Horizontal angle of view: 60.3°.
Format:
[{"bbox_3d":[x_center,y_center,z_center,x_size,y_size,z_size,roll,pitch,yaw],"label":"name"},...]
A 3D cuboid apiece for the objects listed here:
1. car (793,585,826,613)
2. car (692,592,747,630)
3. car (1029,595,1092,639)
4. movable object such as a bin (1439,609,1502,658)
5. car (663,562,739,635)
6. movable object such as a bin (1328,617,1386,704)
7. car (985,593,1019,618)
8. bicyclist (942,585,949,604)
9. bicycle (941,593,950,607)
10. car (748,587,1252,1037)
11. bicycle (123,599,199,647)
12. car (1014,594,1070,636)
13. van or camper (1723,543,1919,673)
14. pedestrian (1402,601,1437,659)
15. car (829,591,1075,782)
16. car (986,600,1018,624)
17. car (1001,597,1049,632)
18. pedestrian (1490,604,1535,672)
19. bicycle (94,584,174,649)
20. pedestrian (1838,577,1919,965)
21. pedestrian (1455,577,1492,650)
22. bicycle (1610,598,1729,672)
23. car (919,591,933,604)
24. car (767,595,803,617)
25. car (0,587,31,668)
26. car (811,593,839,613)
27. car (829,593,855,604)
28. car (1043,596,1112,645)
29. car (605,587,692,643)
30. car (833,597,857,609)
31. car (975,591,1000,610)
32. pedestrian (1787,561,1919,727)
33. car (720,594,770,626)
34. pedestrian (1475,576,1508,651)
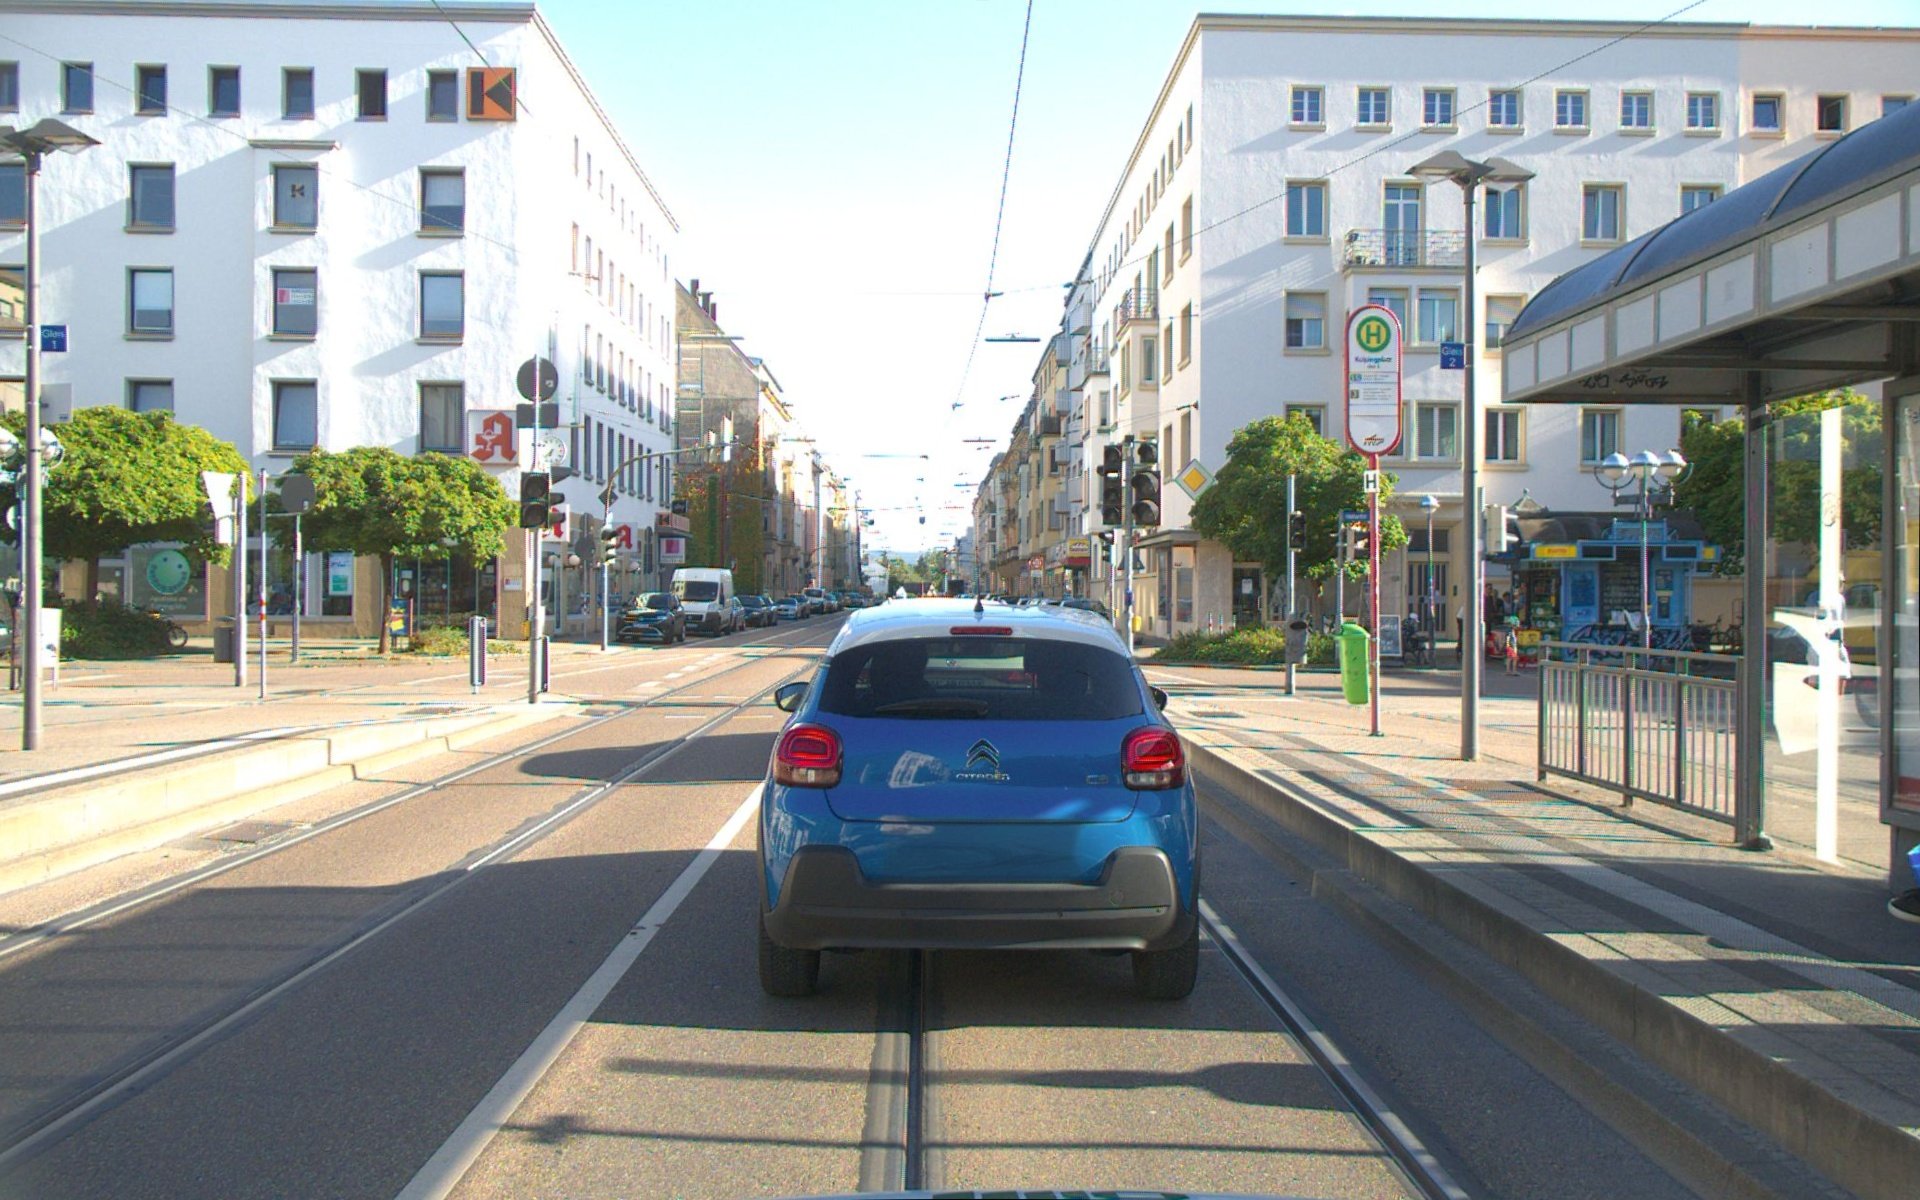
[{"bbox_3d":[-11.487,-0.031,126.603,1.965,2.049,4.690,1,0,1],"label":"car"},{"bbox_3d":[-10.048,0.467,69.389,1.850,1.522,3.560,1,0,-2],"label":"car"},{"bbox_3d":[3.455,0.571,57.530,1.953,1.489,4.000,0,0,0],"label":"car"},{"bbox_3d":[12.467,0.815,40.414,1.174,1.173,1.217,0,0,0],"label":"movable object such as a bin"},{"bbox_3d":[-9.735,-0.065,62.608,2.043,2.586,6.203,1,0,-2],"label":"car"},{"bbox_3d":[3.739,0.565,15.597,0.439,0.800,0.489,0,0,2],"label":"movable object such as a bin"},{"bbox_3d":[2.585,0.343,102.116,1.953,1.489,4.504,0,0,0],"label":"car"},{"bbox_3d":[-1.580,-0.592,181.167,0.793,2.049,0.922,1,-1,-2],"label":"bicyclist"},{"bbox_3d":[-1.597,-0.008,181.117,0.901,1.413,3.131,0,0,0],"label":"bicycle"},{"bbox_3d":[0.107,0.721,7.555,1.693,1.508,3.826,1,0,-1],"label":"car"},{"bbox_3d":[-20.625,0.570,42.762,0.605,1.211,2.621,0,0,2],"label":"bicycle"},{"bbox_3d":[3.087,0.550,62.972,1.953,1.527,4.000,0,0,0],"label":"car"},{"bbox_3d":[20.981,0.139,36.728,6.976,2.795,2.371,0,1,0],"label":"van or camper"},{"bbox_3d":[10.887,0.706,39.163,0.725,1.339,0.628,0,0,22],"label":"pedestrian"},{"bbox_3d":[-0.101,0.687,15.658,1.944,1.490,4.814,1,0,-1],"label":"car"},{"bbox_3d":[2.694,0.759,106.494,1.953,1.489,4.000,0,0,0],"label":"car"},{"bbox_3d":[2.828,0.603,72.992,1.953,1.489,4.000,0,0,0],"label":"car"},{"bbox_3d":[12.273,0.839,36.737,0.715,1.434,0.755,0,3,-1],"label":"pedestrian"},{"bbox_3d":[-21.334,0.411,42.775,0.605,1.635,2.621,0,0,3],"label":"bicycle"},{"bbox_3d":[3.591,0.573,5.334,0.978,1.246,0.923,3,-1,-1],"label":"pedestrian"},{"bbox_3d":[13.217,0.339,42.555,0.768,1.871,0.678,0,0,2],"label":"pedestrian"},{"bbox_3d":[15.891,0.769,37.075,2.336,1.558,0.726,2,0,-2],"label":"bicycle"},{"bbox_3d":[-4.714,-0.402,230.539,1.953,1.803,3.999,0,0,-1],"label":"car"},{"bbox_3d":[-10.882,0.381,103.113,1.953,1.348,3.921,1,0,-2],"label":"car"},{"bbox_3d":[-22.387,0.577,35.414,3.906,1.736,1.825,0,0,-2],"label":"car"},{"bbox_3d":[-11.179,0.244,137.122,1.914,1.579,3.939,1,0,1],"label":"car"},{"bbox_3d":[-13.185,-0.206,184.614,1.951,1.176,4.518,0,0,8],"label":"car"},{"bbox_3d":[3.692,0.631,52.484,1.870,1.489,4.000,0,0,0],"label":"car"},{"bbox_3d":[-9.789,0.477,52.245,1.953,1.596,4.401,3,0,-2],"label":"car"},{"bbox_3d":[-10.666,0.271,153.922,1.953,1.176,4.000,0,0,0],"label":"car"},{"bbox_3d":[2.186,0.021,133.196,1.953,1.489,4.000,0,0,0],"label":"car"},{"bbox_3d":[10.590,0.518,19.619,0.961,1.910,1.128,0,-1,-3],"label":"pedestrian"},{"bbox_3d":[-10.101,0.474,77.967,1.953,1.422,4.155,1,0,-2],"label":"car"},{"bbox_3d":[13.373,0.344,41.655,0.639,1.871,0.659,0,0,2],"label":"pedestrian"}]
